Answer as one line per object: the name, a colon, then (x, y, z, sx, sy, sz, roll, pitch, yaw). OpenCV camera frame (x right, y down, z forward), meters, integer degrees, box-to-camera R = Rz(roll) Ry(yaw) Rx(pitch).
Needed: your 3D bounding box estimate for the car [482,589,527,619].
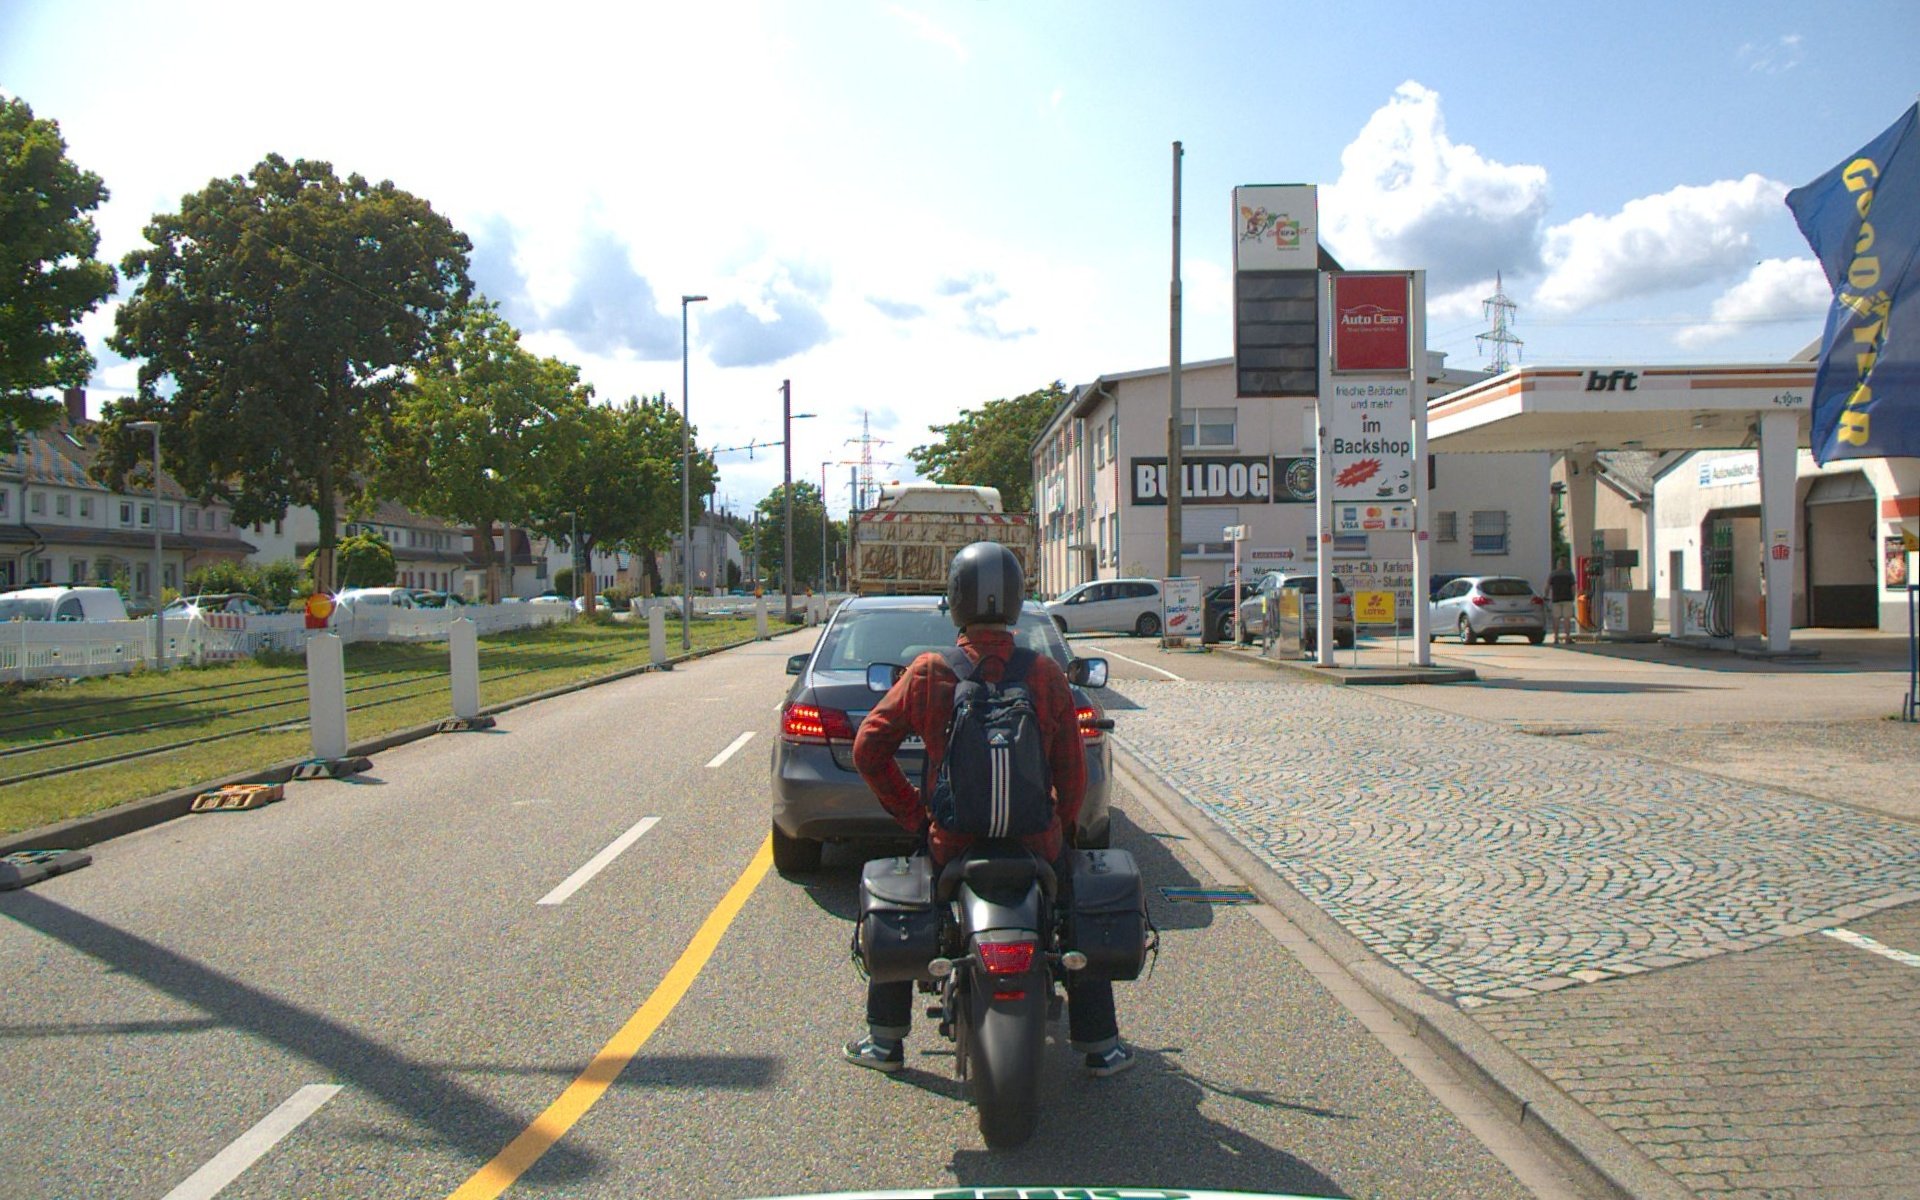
car: (-28.662, 0.236, 104.143, 1.664, 1.770, 4.061, -1, 0, -1)

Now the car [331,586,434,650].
car: (-16.901, 0.496, 48.611, 1.664, 1.770, 3.860, -1, 0, -1)

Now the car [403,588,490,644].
car: (-17.018, 0.501, 54.976, 1.664, 1.770, 3.860, -1, 0, -1)

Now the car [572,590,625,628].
car: (-17.360, 0.409, 79.554, 1.664, 1.770, 3.860, -1, 0, -1)

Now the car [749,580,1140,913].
car: (-0.133, 0.664, 9.726, 1.795, 1.505, 4.008, -1, 0, -2)

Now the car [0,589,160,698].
car: (-16.416, 0.746, 30.289, 1.664, 1.849, 3.860, -1, 0, -1)

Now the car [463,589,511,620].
car: (-28.060, 0.265, 98.141, 1.664, 1.770, 4.061, -1, 0, -1)

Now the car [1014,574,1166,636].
car: (3.672, 0.122, 47.079, 4.029, 1.652, 1.682, -1, 0, -9)

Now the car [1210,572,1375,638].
car: (8.795, 0.119, 43.893, 4.021, 1.652, 1.686, -1, 0, 0)

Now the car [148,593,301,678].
car: (-16.671, 0.760, 37.713, 1.664, 1.770, 4.053, -1, 0, -1)

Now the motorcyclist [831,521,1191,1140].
motorcyclist: (0.130, 0.619, 5.070, 0.950, 1.662, 1.214, 1, 0, -1)

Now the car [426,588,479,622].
car: (-28.179, 0.250, 91.930, 1.664, 1.770, 4.061, -1, 0, -1)

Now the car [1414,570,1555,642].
car: (11.774, 0.106, 37.415, 1.795, 1.505, 4.008, -1, 0, -2)

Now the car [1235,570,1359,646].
car: (7.424, 0.145, 36.750, 1.795, 1.562, 4.008, -1, 0, -2)

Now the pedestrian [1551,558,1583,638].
pedestrian: (13.136, -0.044, 35.786, 0.621, 1.712, 0.622, -1, 0, 20)

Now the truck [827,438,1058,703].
truck: (-0.354, -0.419, 25.464, 2.910, 3.362, 8.404, -1, 0, -2)

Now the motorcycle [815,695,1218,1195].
motorcycle: (0.119, 0.902, 5.189, 0.956, 1.031, 2.431, 1, 0, -1)
